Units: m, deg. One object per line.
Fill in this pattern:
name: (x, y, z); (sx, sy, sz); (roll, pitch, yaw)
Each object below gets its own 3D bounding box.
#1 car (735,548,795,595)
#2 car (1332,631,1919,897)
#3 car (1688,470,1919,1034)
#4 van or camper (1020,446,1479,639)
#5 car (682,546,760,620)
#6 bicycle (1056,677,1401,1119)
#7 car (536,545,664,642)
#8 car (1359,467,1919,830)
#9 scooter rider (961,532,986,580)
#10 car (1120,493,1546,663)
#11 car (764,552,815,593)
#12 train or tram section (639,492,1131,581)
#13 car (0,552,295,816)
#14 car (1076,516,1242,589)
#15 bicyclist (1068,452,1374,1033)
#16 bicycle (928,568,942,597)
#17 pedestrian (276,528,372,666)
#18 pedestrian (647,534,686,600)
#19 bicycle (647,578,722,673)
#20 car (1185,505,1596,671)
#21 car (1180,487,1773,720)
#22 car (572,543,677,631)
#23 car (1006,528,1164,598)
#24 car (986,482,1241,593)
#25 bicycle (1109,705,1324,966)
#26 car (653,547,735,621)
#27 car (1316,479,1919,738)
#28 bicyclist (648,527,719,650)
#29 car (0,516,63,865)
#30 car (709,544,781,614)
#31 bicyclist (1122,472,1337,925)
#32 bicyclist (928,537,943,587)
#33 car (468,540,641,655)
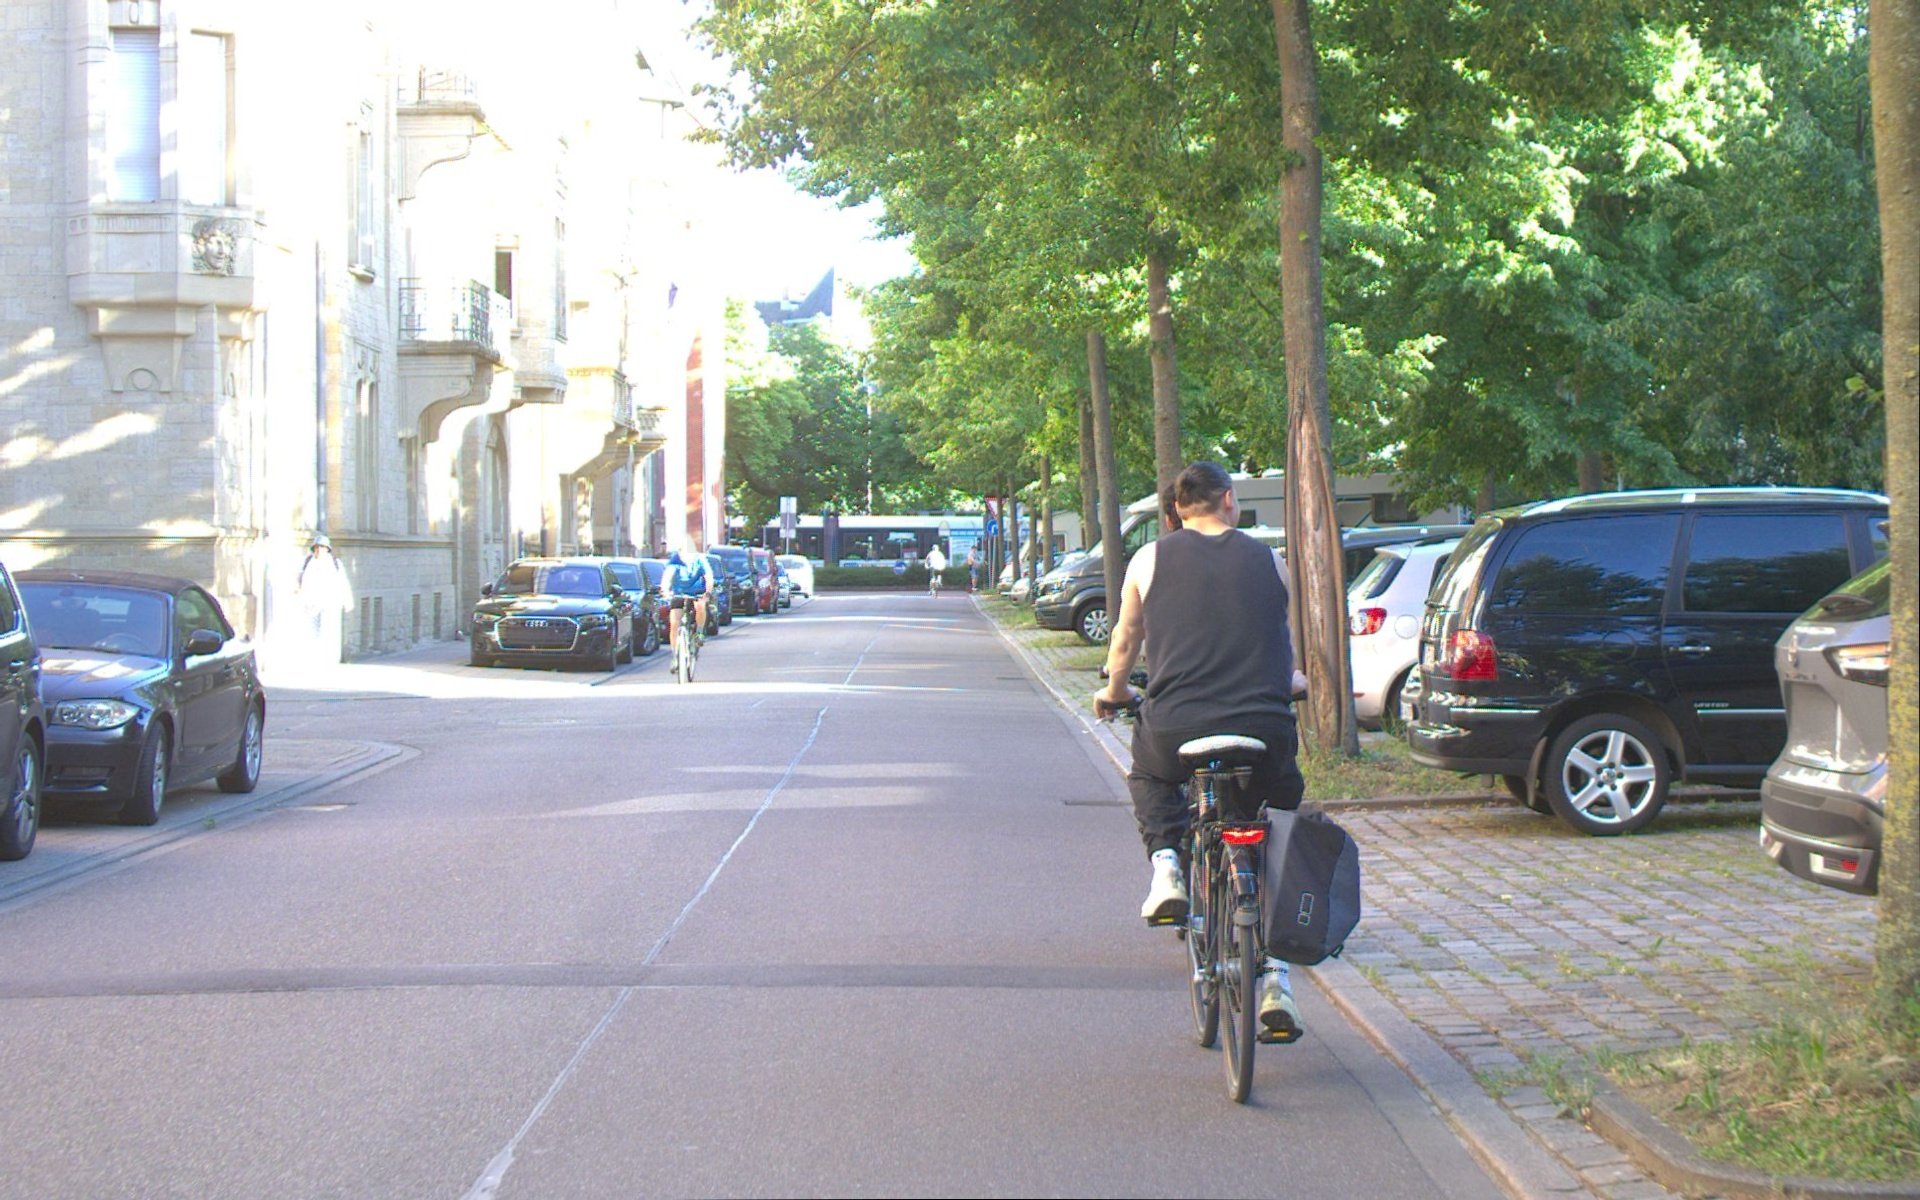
car: (-5.989, -0.882, 105.878); (1.583, 1.339, 4.131); (2, 1, 0)
car: (4.472, 1.063, 22.950); (3.721, 1.448, 1.589); (-3, 1, 0)
car: (4.812, 0.296, 10.965); (4.475, 1.628, 1.875); (-3, 1, -1)
van or camper: (4.629, -0.931, 55.854); (7.147, 2.638, 2.464); (-3, 1, 2)
car: (-6.164, -0.459, 89.010); (1.640, 1.777, 4.354); (2, 1, 0)
bicycle: (0.706, 0.774, 9.662); (0.737, 1.050, 1.956); (2, 0, -2)
car: (-5.569, -0.102, 53.517); (1.696, 1.448, 4.028); (0, 0, -2)
car: (4.535, 0.168, 18.172); (4.581, 1.671, 1.907); (-3, 1, 2)
scooter rider: (0.522, -1.706, 133.049); (0.871, 1.835, 0.671); (1, 0, -5)
car: (4.184, -0.260, 39.129); (4.619, 1.704, 1.833); (-2, 1, 1)
car: (-6.115, -0.996, 123.833); (1.583, 1.371, 4.131); (2, 1, 0)
train or tram section: (-3.468, -3.009, 166.419); (23.799, 3.696, 4.287); (1, 0, -22)
car: (-5.328, 0.437, 21.081); (1.635, 1.406, 4.333); (2, 0, 0)
car: (4.600, -1.098, 79.892); (3.773, 1.594, 1.691); (-1, -1, 2)
bicyclist: (0.715, 0.383, 9.688); (0.730, 1.542, 0.884); (2, 0, -2)
bicycle: (-0.885, -0.603, 121.775); (0.498, 1.002, 1.474); (1, -1, 0)
pedestrian: (-7.447, -0.044, 40.312); (0.888, 1.571, 1.053); (-2, 2, 0)
pedestrian: (-7.815, -0.870, 91.492); (0.938, 1.736, 0.735); (1, 0, 1)
bicycle: (-3.309, 0.301, 41.423); (0.757, 1.104, 1.907); (-1, 0, -1)
car: (4.504, -0.141, 36.369); (4.068, 1.471, 1.694); (-3, 2, 1)
car: (4.296, 0.009, 28.969); (4.538, 1.628, 1.813); (-4, 1, -6)
car: (-5.832, -0.258, 60.107); (1.628, 1.448, 3.838); (1, 1, -3)
car: (3.385, -1.007, 93.314); (4.082, 1.644, 1.641); (-3, 1, -2)
car: (4.460, -1.831, 100.655); (7.146, 2.968, 2.465); (-2, 1, -3)
bicycle: (0.923, 0.839, 12.751); (0.633, 0.796, 1.832); (-1, 1, -1)
car: (-5.811, -0.357, 75.403); (1.595, 1.484, 2.737); (3, 1, -2)
car: (4.911, 0.049, 25.817); (4.273, 1.628, 1.690); (-3, 1, 3)
bicyclist: (-3.320, -0.140, 41.354); (0.759, 1.449, 0.949); (-1, 0, -1)
car: (-5.392, 0.433, 15.572); (1.669, 1.675, 4.351); (1, 0, -2)
car: (-5.958, -0.599, 95.628); (1.689, 1.819, 4.273); (2, 1, 0)
bicyclist: (0.991, 0.347, 12.821); (0.689, 1.621, 0.998); (0, 1, -1)
bicyclist: (-0.877, -1.347, 121.751); (0.486, 1.738, 0.656); (1, 0, -1)
car: (-5.468, -0.054, 46.890); (1.811, 1.422, 4.898); (2, 0, -1)
